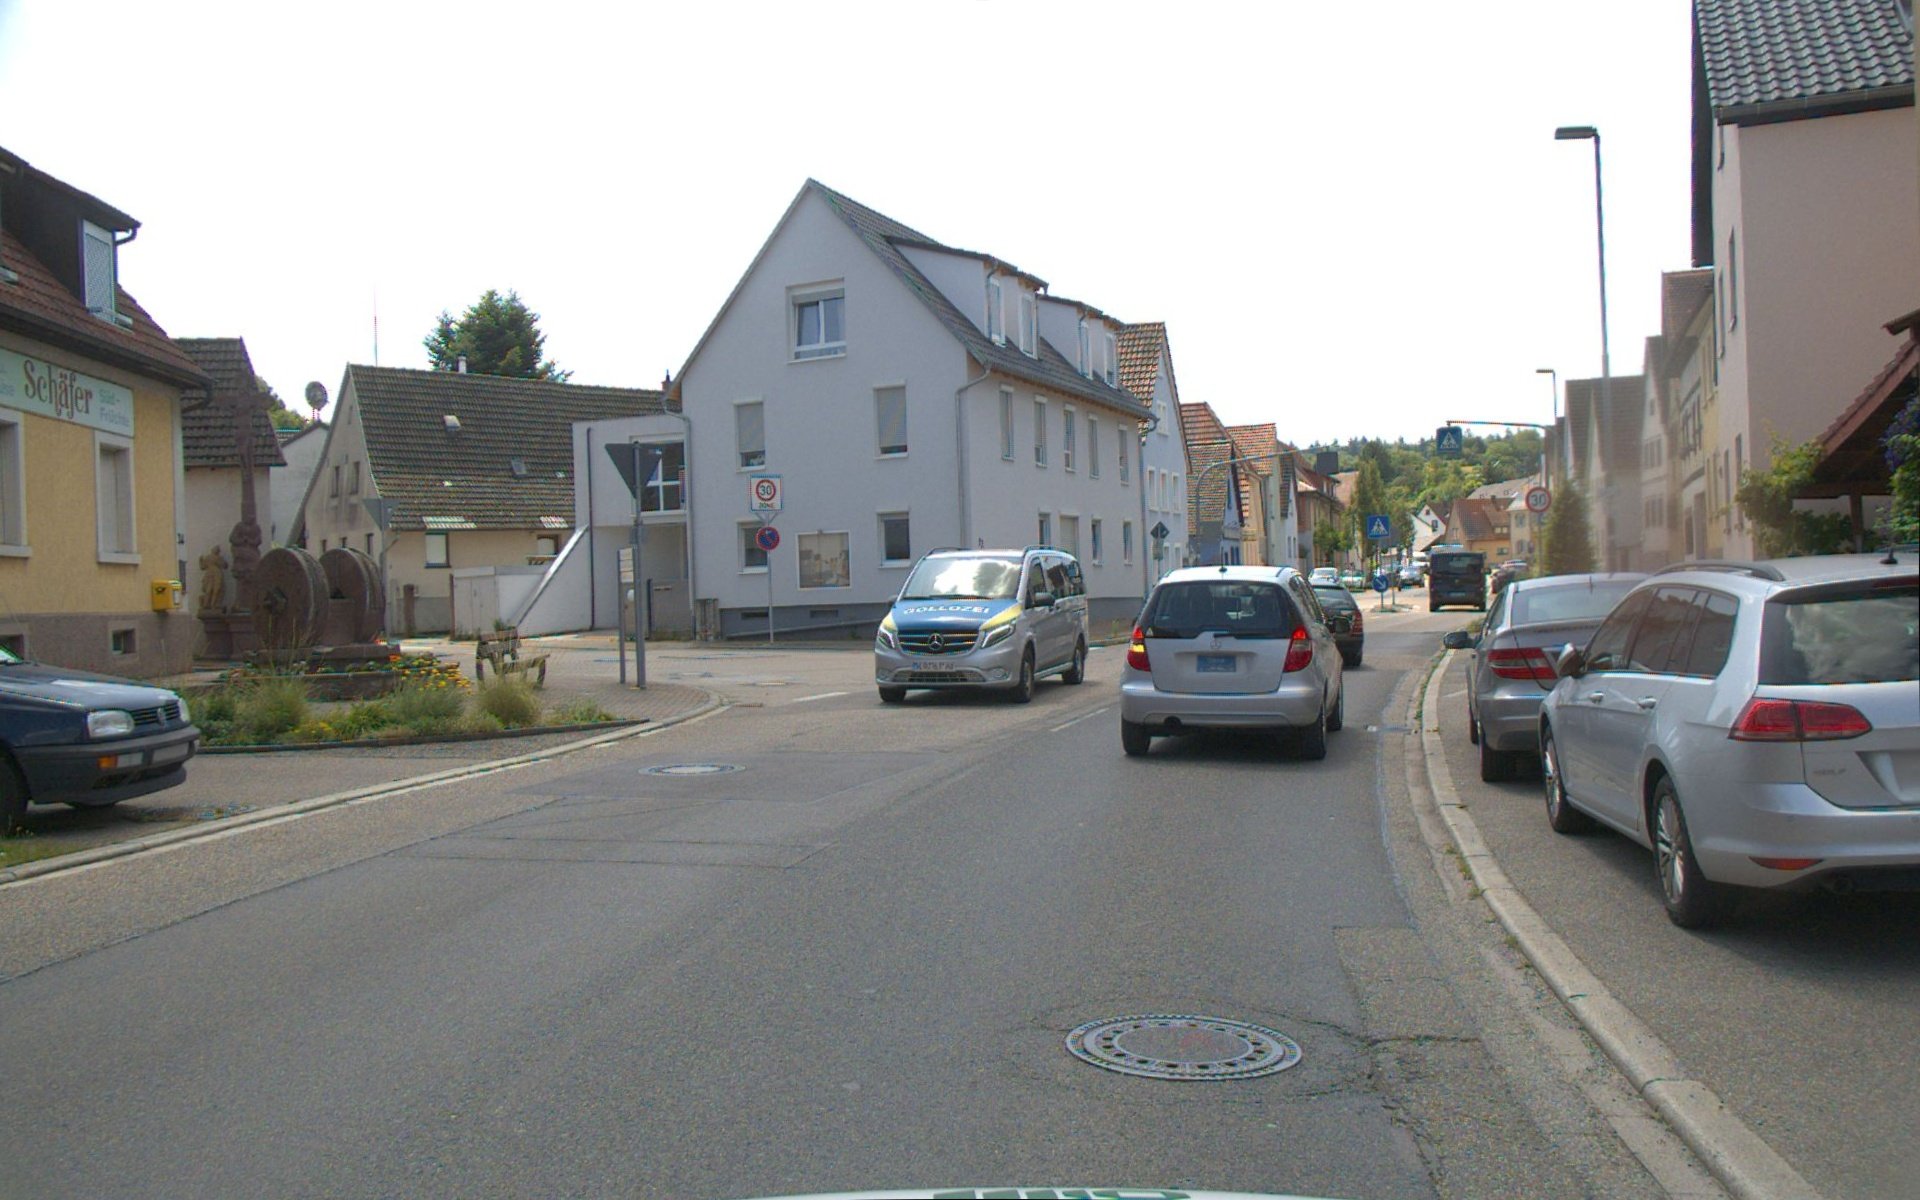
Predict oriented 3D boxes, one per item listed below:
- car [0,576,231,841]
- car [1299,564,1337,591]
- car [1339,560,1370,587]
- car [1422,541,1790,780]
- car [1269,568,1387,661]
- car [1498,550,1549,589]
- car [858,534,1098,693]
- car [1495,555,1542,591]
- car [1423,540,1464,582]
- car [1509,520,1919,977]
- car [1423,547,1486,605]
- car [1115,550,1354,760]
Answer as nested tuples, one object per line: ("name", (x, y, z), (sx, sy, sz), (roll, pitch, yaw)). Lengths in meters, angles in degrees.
("car", (-6.773, 0.632, 10.080), (3.890, 1.489, 1.719), (-1, 0, -6))
("car", (19.443, -1.207, 89.859), (1.951, 1.344, 3.712), (-1, -1, 12))
("car", (25.549, -1.722, 107.077), (1.632, 1.624, 4.002), (-1, -1, 18))
("car", (4.771, 0.424, 12.876), (1.732, 1.424, 4.428), (-4, -1, 10))
("car", (6.139, 0.252, 27.956), (1.712, 1.441, 4.003), (-1, -1, 9))
("car", (24.230, -1.281, 71.206), (1.951, 1.534, 4.002), (-1, -1, 18))
("car", (0.390, 0.193, 21.722), (1.951, 1.831, 4.939), (-1, -1, 15))
("car", (25.844, -1.222, 76.636), (1.951, 1.534, 4.002), (-1, -1, 18))
("car", (25.497, -2.042, 87.200), (1.951, 2.049, 4.002), (-1, -1, 17))
("car", (4.001, 0.455, 7.821), (1.845, 1.556, 4.339), (-4, 0, 8))
("car", (16.909, -0.789, 56.601), (1.951, 1.848, 4.002), (-1, -1, 17))
("car", (2.631, 0.410, 15.187), (1.772, 1.672, 3.732), (0, 1, 16))
